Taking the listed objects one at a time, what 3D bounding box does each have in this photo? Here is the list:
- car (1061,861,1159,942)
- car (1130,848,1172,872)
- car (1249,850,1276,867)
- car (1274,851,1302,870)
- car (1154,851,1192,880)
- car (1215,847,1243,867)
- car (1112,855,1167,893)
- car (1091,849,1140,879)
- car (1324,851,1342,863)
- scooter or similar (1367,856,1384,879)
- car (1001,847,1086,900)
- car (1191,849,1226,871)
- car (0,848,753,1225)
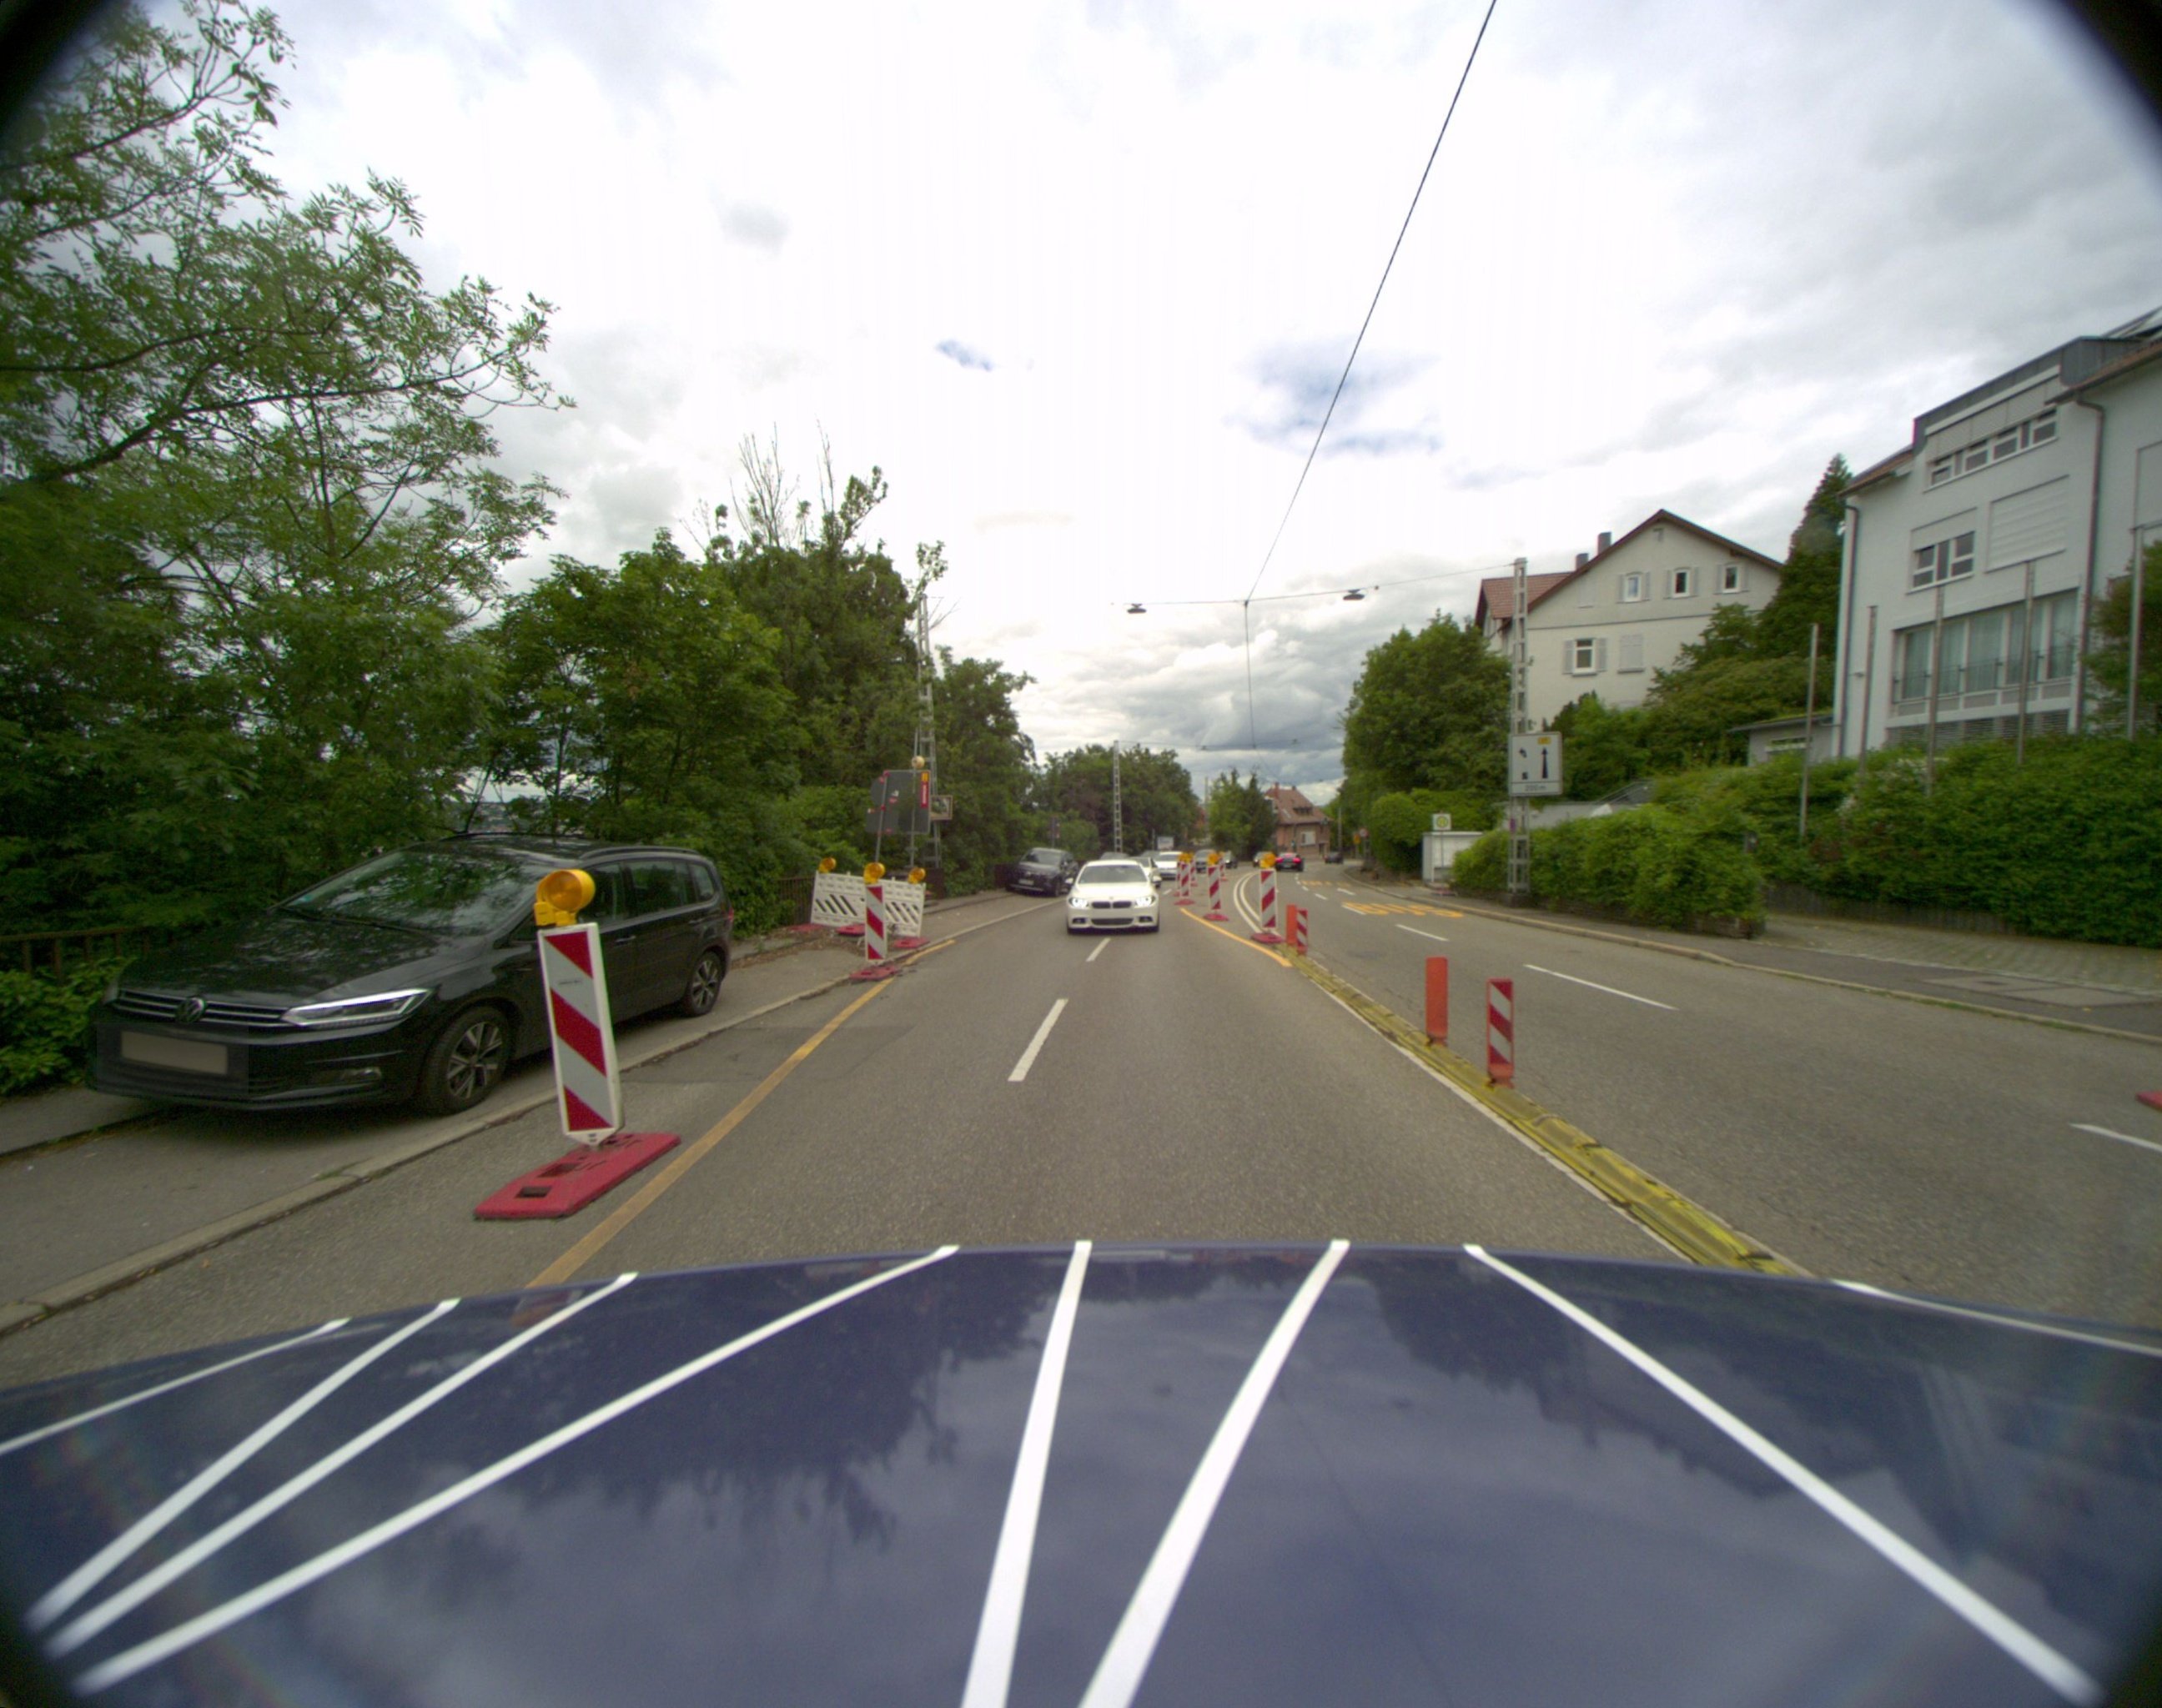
[{"bbox_3d":[0.767,0.931,16.584,1.791,1.472,4.247,-1,0,7],"label":"car"},{"bbox_3d":[4.940,0.390,52.992,1.855,1.525,4.238,3,2,20],"label":"car"},{"bbox_3d":[17.256,0.396,72.017,1.789,1.472,4.251,-1,0,23],"label":"car"},{"bbox_3d":[15.602,0.450,57.171,1.823,1.383,4.443,1,1,17],"label":"car"},{"bbox_3d":[5.314,0.630,43.443,1.790,1.542,4.248,-1,0,11],"label":"car"},{"bbox_3d":[12.606,0.233,64.559,1.796,1.502,4.005,-1,1,18],"label":"car"},{"bbox_3d":[2.564,0.792,32.574,1.790,1.472,4.248,-1,0,12],"label":"car"},{"bbox_3d":[1.983,0.511,42.323,1.856,1.428,4.236,5,2,13],"label":"car"},{"bbox_3d":[30.807,0.326,92.795,1.715,1.453,4.006,1,1,23],"label":"car"},{"bbox_3d":[16.030,0.712,41.395,0.429,1.202,1.282,-3,1,4],"label":"scooter or similar"},{"bbox_3d":[-1.279,0.631,28.044,1.856,1.664,4.283,5,2,13],"label":"car"},{"bbox_3d":[9.280,0.381,54.997,1.796,1.501,4.005,1,1,19],"label":"car"},{"bbox_3d":[-4.594,0.846,5.923,1.866,1.664,4.646,4,1,1],"label":"car"}]
